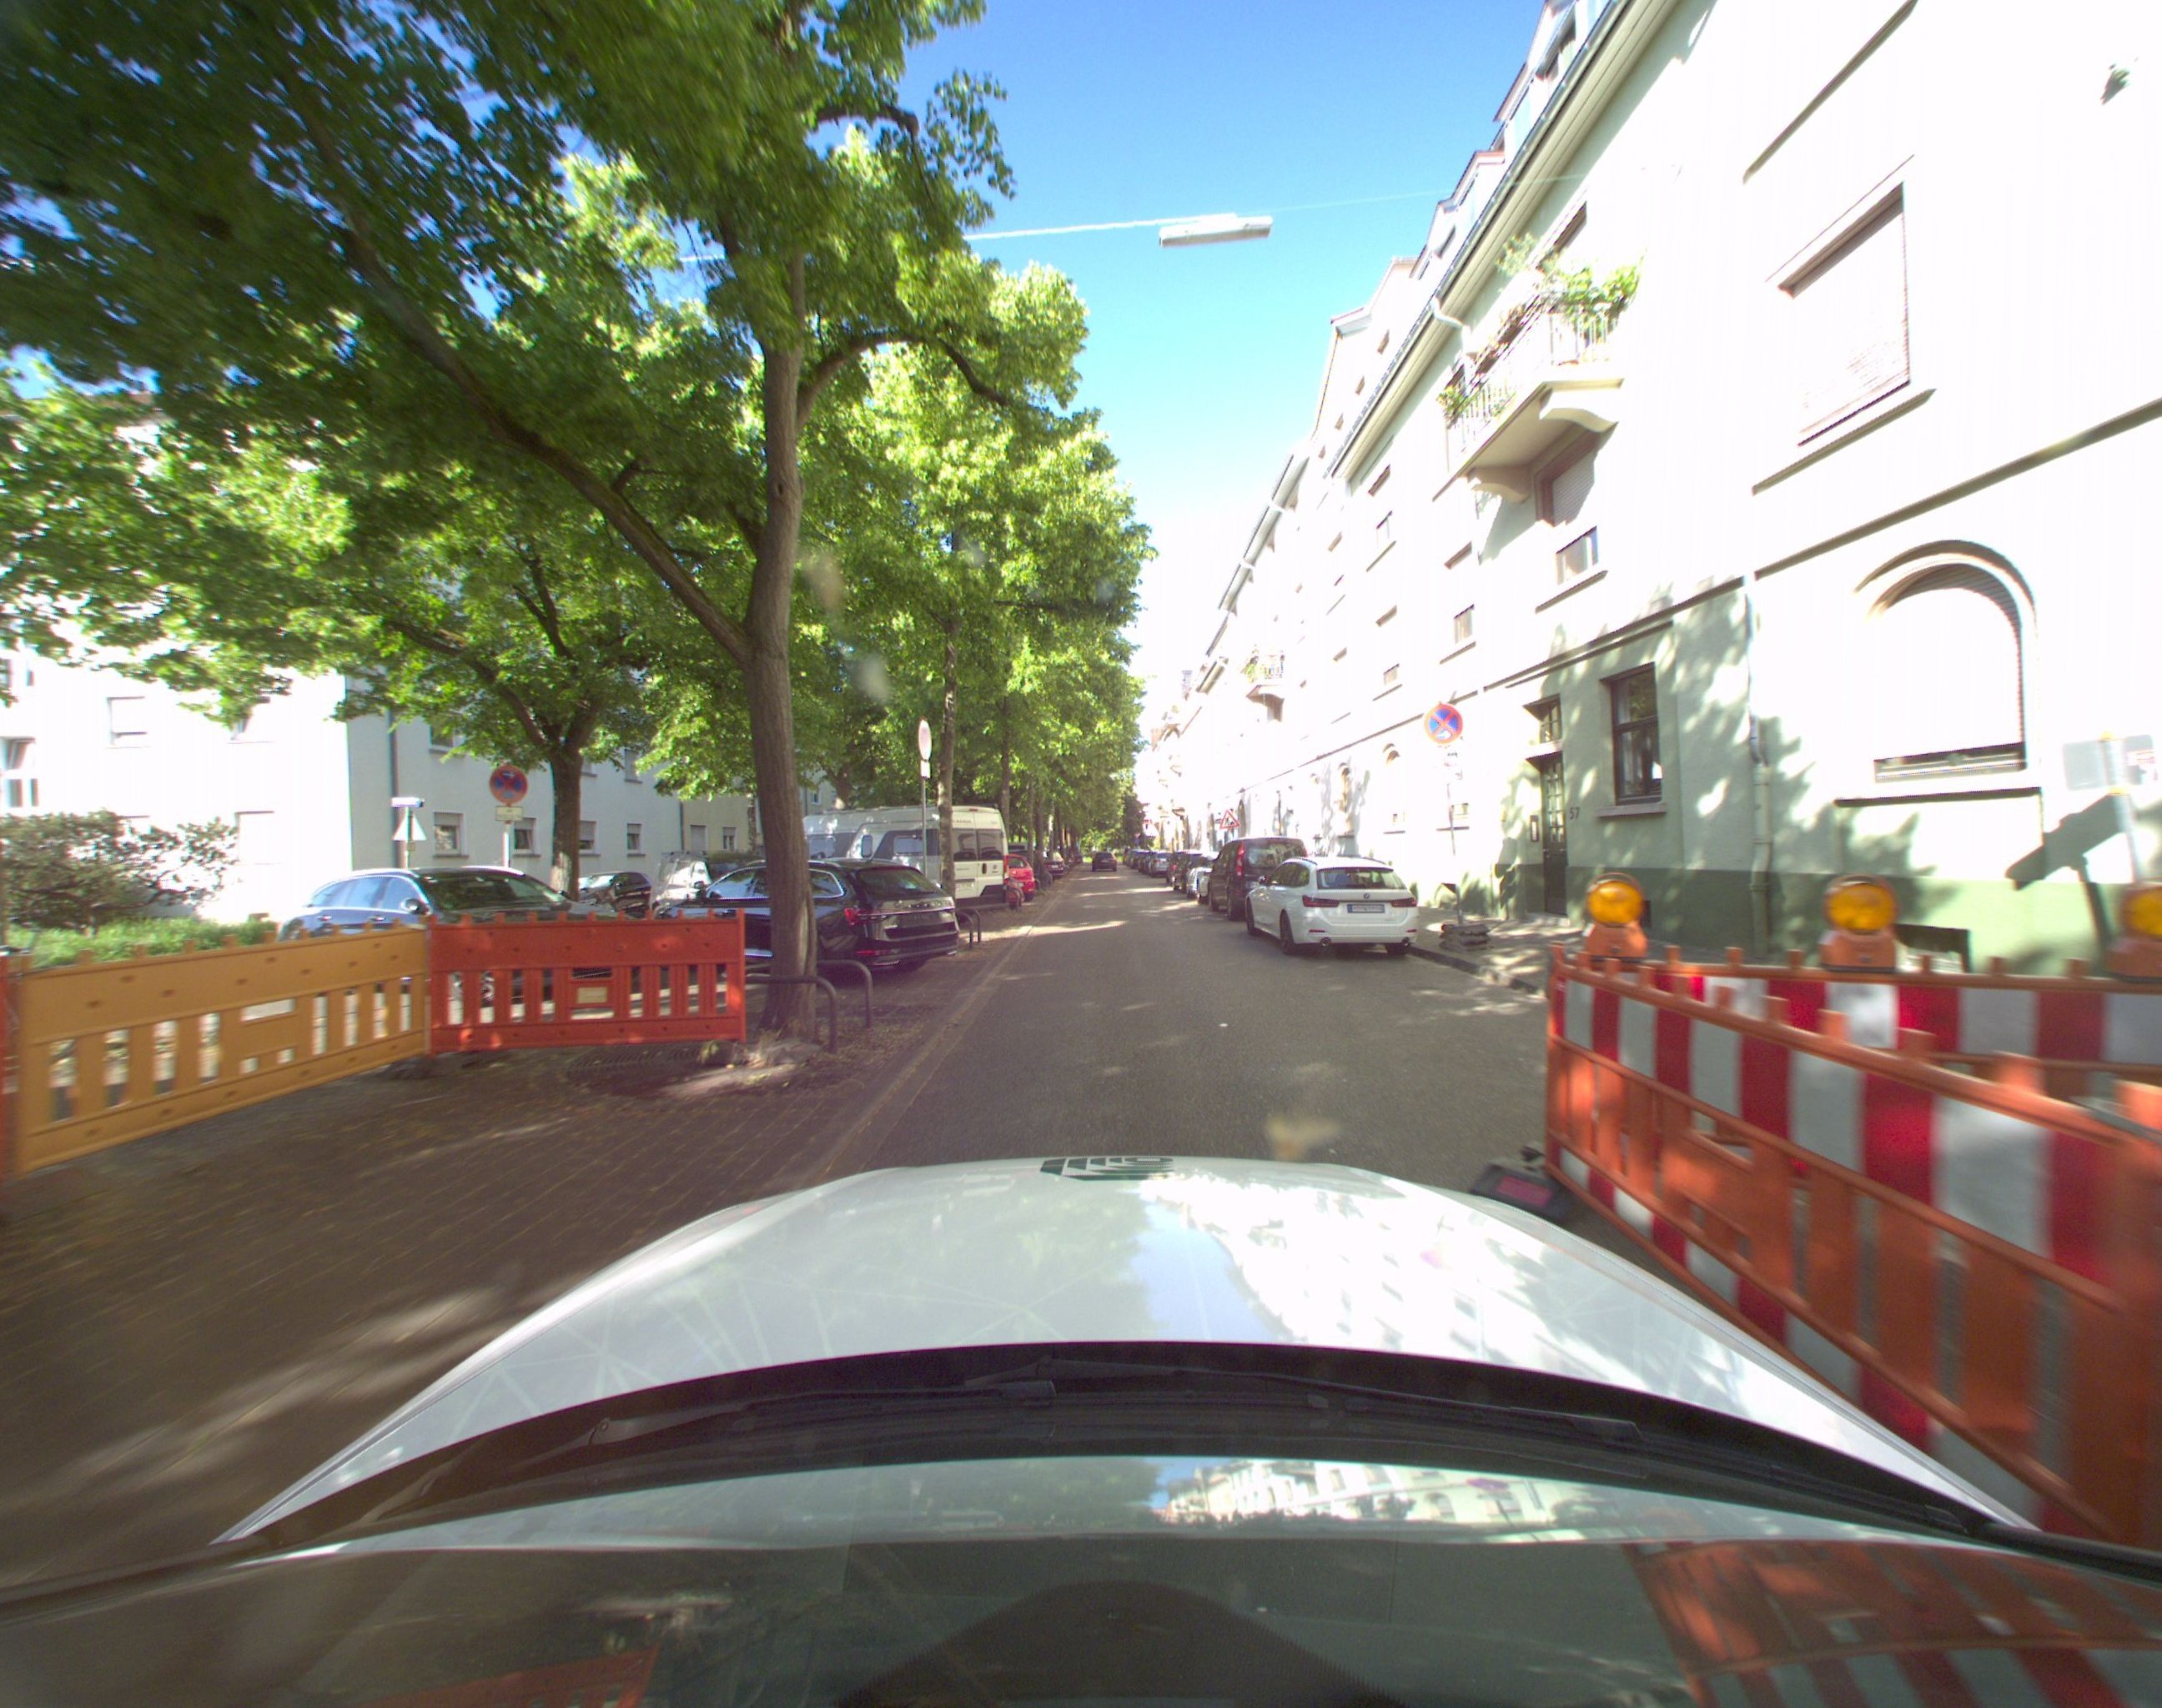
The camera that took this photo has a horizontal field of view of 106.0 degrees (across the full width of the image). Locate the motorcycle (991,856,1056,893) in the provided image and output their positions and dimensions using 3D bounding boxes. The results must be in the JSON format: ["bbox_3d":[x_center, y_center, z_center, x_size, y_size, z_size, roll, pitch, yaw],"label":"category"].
[{"bbox_3d":[-2.020,0.715,28.858,2.134,1.230,0.884,-1,0,10],"label":"motorcycle"}]

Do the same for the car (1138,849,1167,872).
[{"bbox_3d":[4.734,0.439,54.675,1.686,1.468,4.006,0,0,1],"label":"car"}]

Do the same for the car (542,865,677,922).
[{"bbox_3d":[-14.334,1.142,25.070,1.744,1.436,4.080,-4,0,-1],"label":"car"}]

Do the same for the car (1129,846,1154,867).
[{"bbox_3d":[4.840,0.200,65.449,1.798,1.563,4.323,-3,0,3],"label":"car"}]

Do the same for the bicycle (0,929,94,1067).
[{"bbox_3d":[-8.499,1.111,6.183,1.618,0.980,0.283,-2,0,0],"label":"bicycle"}]

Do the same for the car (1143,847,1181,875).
[{"bbox_3d":[4.475,0.378,45.409,1.763,1.431,4.292,-2,0,1],"label":"car"}]

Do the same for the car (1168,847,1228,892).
[{"bbox_3d":[4.229,0.528,29.986,1.594,1.492,3.966,-2,0,0],"label":"car"}]

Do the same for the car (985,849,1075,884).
[{"bbox_3d":[-2.412,0.608,38.030,3.968,1.474,1.637,-2,0,36],"label":"car"}]

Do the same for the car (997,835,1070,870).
[{"bbox_3d":[-4.360,-0.088,74.867,6.018,2.623,2.466,-6,-2,16],"label":"car"}]

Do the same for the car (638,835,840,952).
[{"bbox_3d":[-6.682,0.687,15.669,4.329,1.914,2.012,-2,0,44],"label":"car"}]

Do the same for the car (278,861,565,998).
[{"bbox_3d":[-7.954,0.870,9.859,2.923,1.453,1.250,-2,0,18],"label":"car"}]

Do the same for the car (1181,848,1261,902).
[{"bbox_3d":[4.079,0.564,24.379,1.601,1.420,4.568,-2,0,0],"label":"car"}]

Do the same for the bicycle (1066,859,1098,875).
[{"bbox_3d":[0.047,0.752,47.984,1.882,0.919,0.381,0,0,20],"label":"bicycle"}]

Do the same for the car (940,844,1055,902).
[{"bbox_3d":[-2.653,0.587,25.275,1.672,1.618,3.835,-3,0,-39],"label":"car"}]

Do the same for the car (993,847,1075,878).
[{"bbox_3d":[-2.548,0.439,44.337,4.037,1.653,1.874,0,0,28],"label":"car"}]

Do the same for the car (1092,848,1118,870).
[{"bbox_3d":[1.794,0.366,59.909,1.707,1.483,4.147,-3,0,3],"label":"car"}]

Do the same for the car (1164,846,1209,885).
[{"bbox_3d":[4.515,0.454,35.382,1.574,1.550,4.044,-1,0,2],"label":"car"}]

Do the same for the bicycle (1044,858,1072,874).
[{"bbox_3d":[-1.518,0.778,53.647,1.797,0.994,0.427,-2,0,16],"label":"bicycle"}]

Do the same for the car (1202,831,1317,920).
[{"bbox_3d":[4.025,0.447,18.957,1.765,1.794,3.989,-2,0,0],"label":"car"}]

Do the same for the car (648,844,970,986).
[{"bbox_3d":[-3.573,0.745,10.534,4.047,1.526,1.712,-2,-3,31],"label":"car"}]

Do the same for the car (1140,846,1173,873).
[{"bbox_3d":[4.619,0.336,50.295,1.761,1.551,4.185,-2,0,1],"label":"car"}]

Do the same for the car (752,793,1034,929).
[{"bbox_3d":[-4.278,0.167,17.981,6.246,2.558,2.353,-1,0,33],"label":"car"}]

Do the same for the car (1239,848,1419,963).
[{"bbox_3d":[3.835,0.700,13.354,1.698,1.511,4.285,-2,0,1],"label":"car"}]

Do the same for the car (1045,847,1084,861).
[{"bbox_3d":[-1.777,0.007,88.748,4.086,1.466,1.862,0,-1,-8],"label":"car"}]

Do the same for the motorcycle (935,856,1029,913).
[{"bbox_3d":[-2.566,0.776,21.203,2.318,1.335,0.966,-2,0,-8],"label":"motorcycle"}]
